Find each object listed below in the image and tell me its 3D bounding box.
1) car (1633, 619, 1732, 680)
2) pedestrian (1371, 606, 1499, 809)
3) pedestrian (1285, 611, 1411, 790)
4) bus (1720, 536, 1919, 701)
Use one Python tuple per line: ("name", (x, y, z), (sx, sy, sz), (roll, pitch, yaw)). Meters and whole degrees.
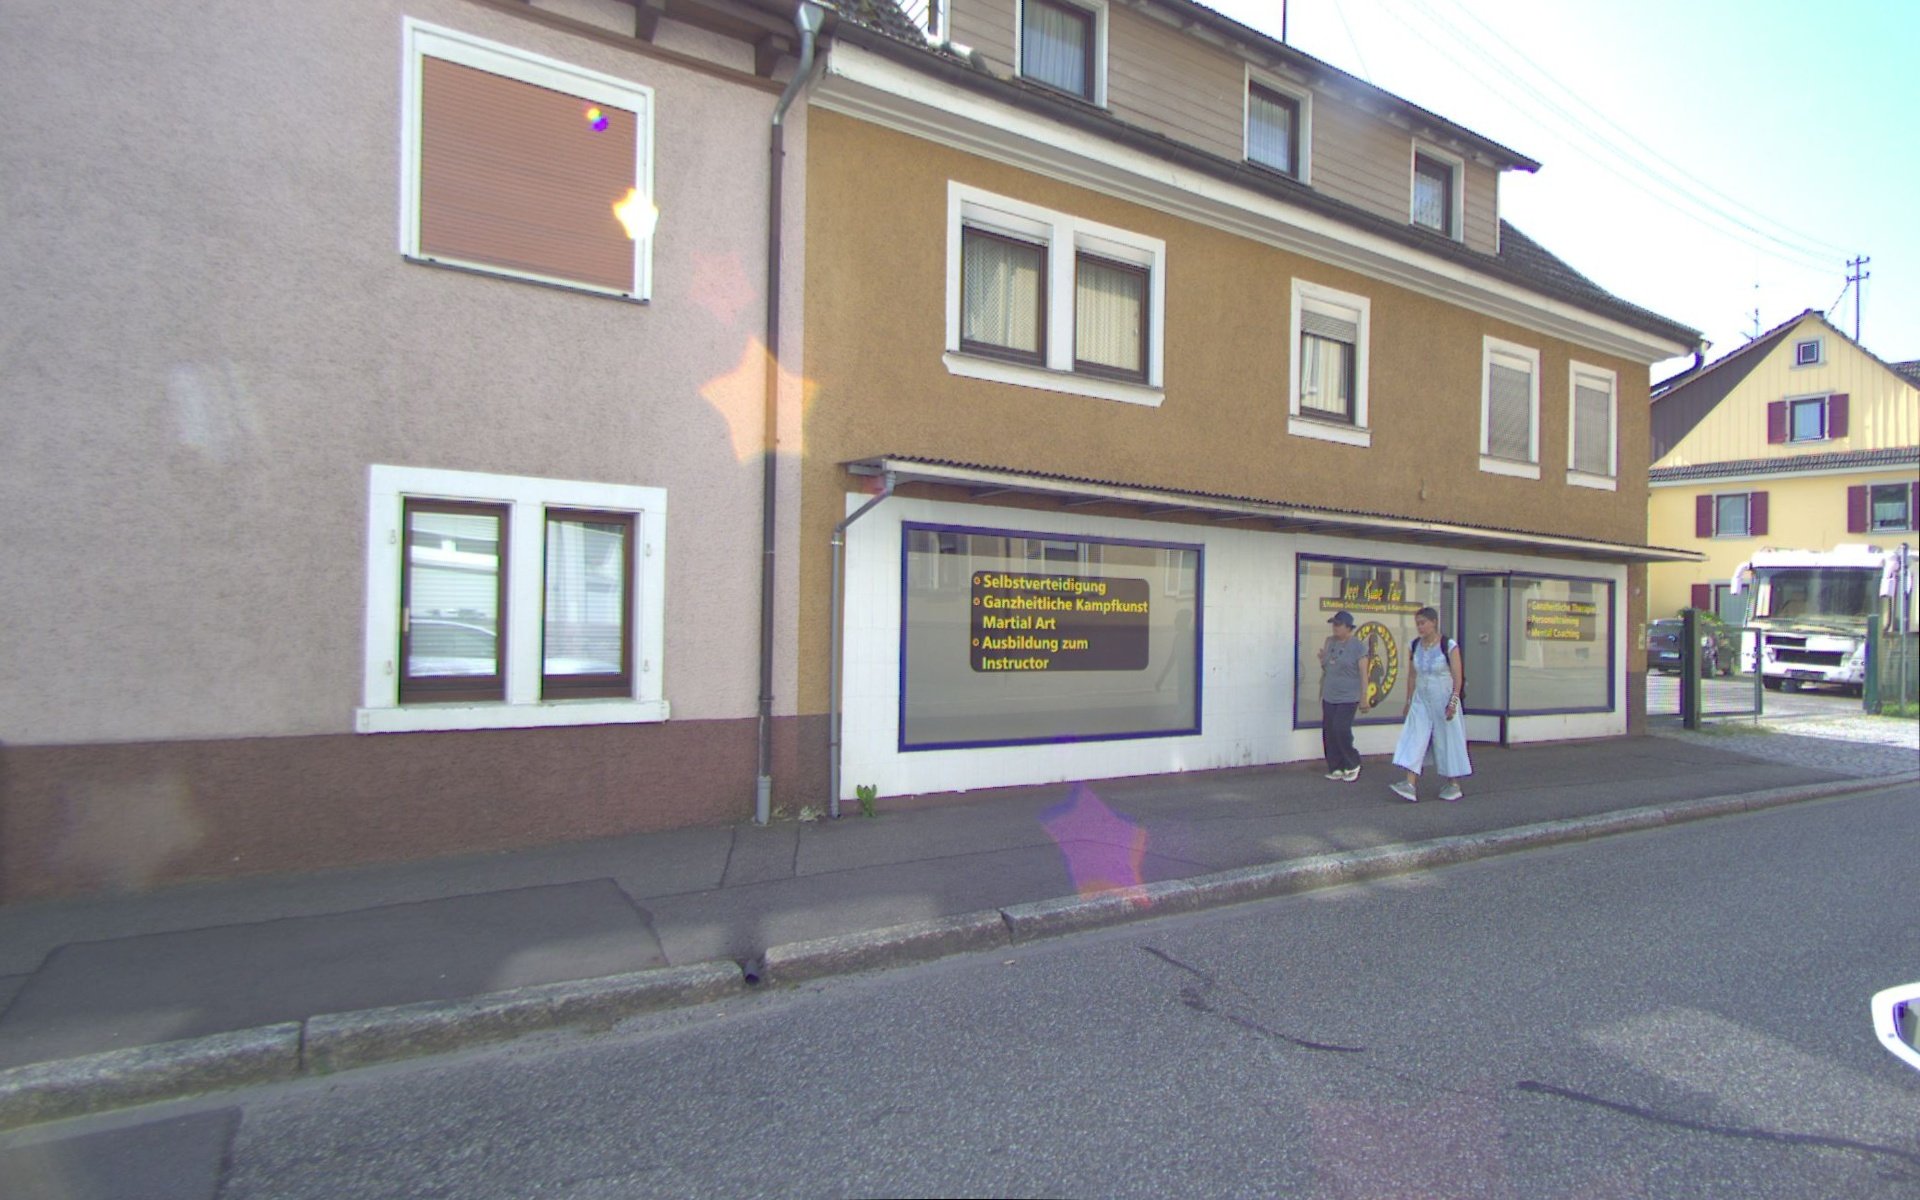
("car", (19.178, 1.263, 26.583), (1.745, 1.451, 3.980), (2, 0, 41))
("pedestrian", (4.085, 0.885, 8.658), (0.768, 1.648, 0.636), (1, 1, -30))
("pedestrian", (3.670, 0.910, 9.526), (0.814, 1.585, 0.731), (1, 1, -30))
("bus", (21.315, 0.434, 23.484), (8.940, 3.271, 2.803), (1, 0, -34))
